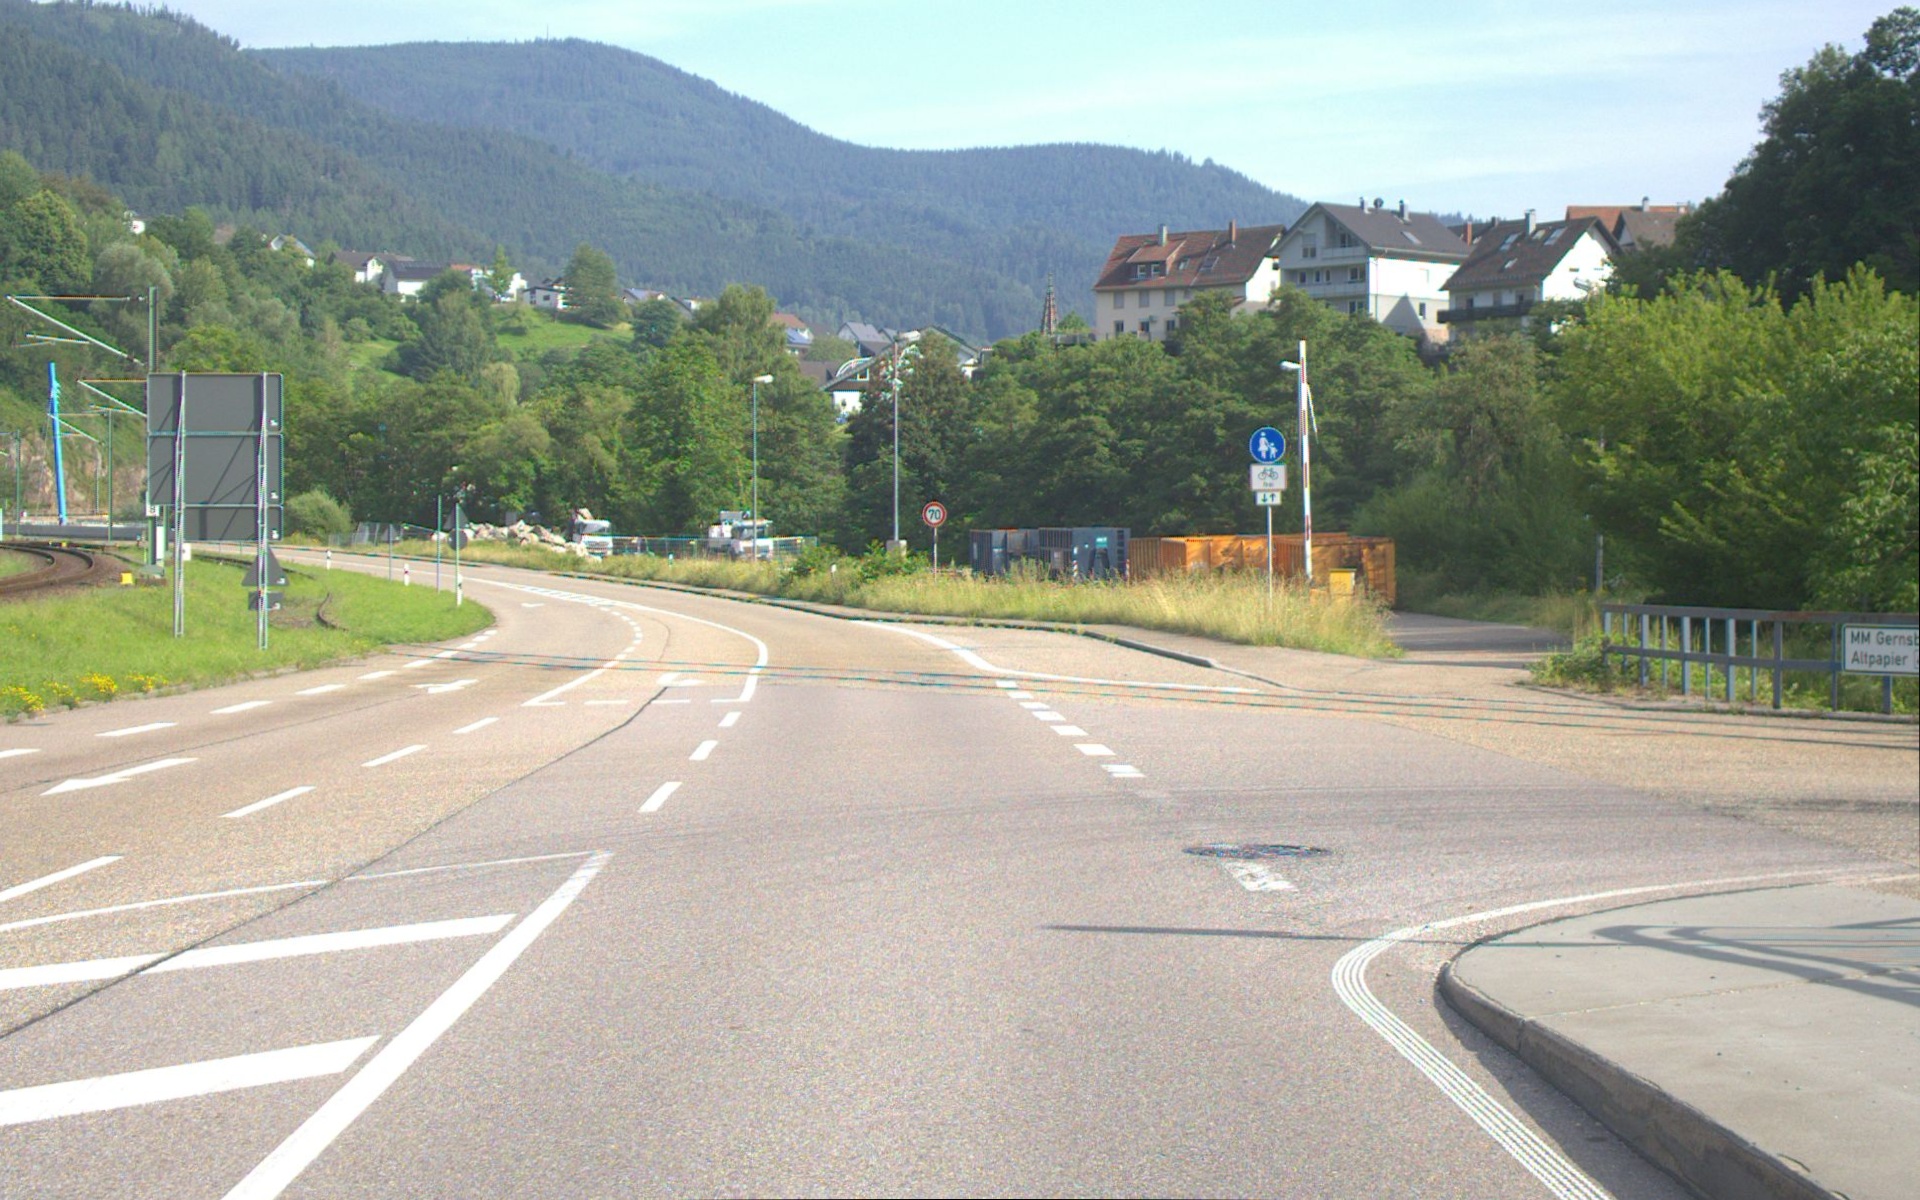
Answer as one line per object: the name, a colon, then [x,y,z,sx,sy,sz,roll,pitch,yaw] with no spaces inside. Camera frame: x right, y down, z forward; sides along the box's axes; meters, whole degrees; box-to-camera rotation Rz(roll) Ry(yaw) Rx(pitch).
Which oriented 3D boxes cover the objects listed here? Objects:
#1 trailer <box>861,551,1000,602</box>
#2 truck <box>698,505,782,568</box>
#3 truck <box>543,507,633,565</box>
trailer: [-1.086,-0.833,116.018,2.791,1.469,9.890,2,1,-11]
truck: [-13.640,-3.950,212.531,3.102,3.769,8.647,1,1,-17]
truck: [-24.782,-4.292,228.595,3.102,3.769,8.646,1,1,-26]
